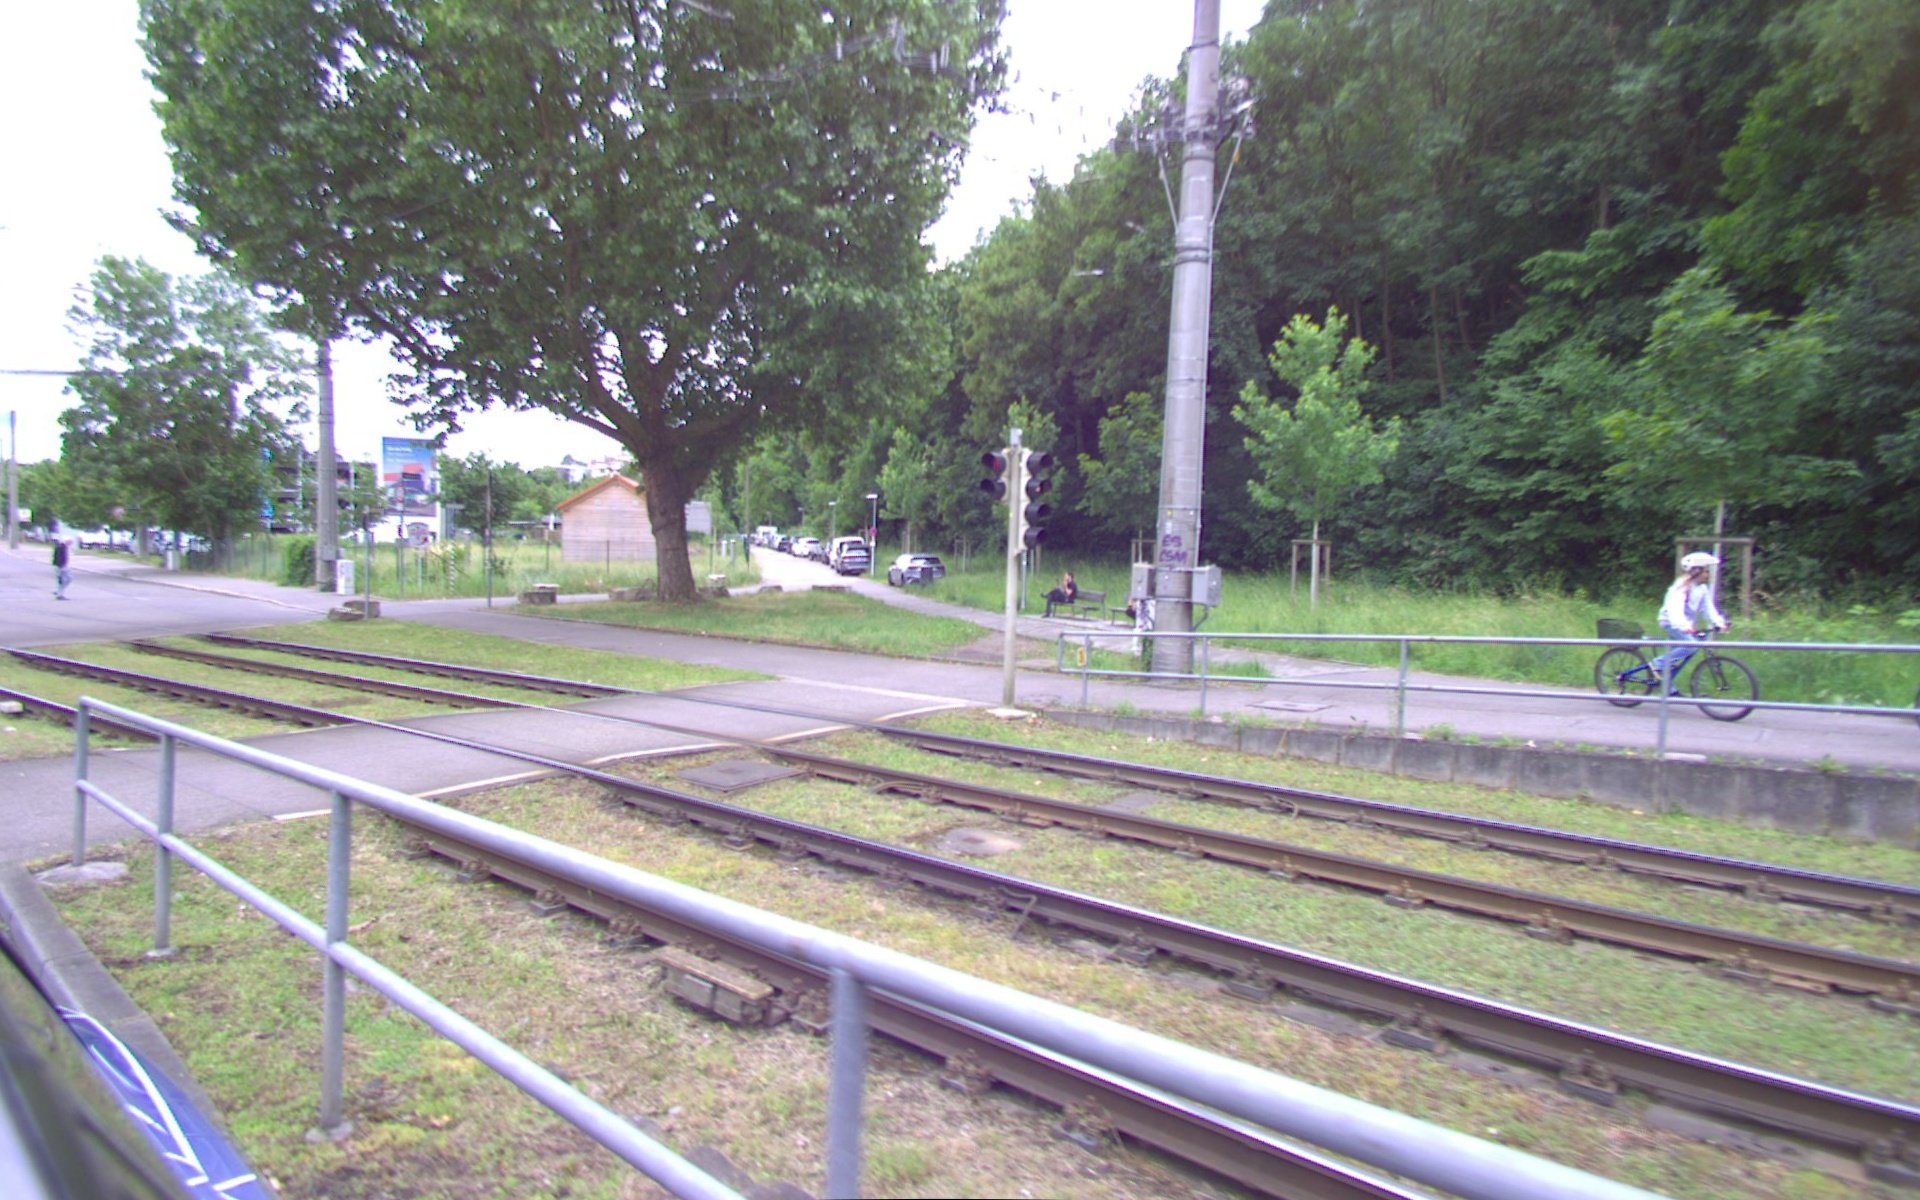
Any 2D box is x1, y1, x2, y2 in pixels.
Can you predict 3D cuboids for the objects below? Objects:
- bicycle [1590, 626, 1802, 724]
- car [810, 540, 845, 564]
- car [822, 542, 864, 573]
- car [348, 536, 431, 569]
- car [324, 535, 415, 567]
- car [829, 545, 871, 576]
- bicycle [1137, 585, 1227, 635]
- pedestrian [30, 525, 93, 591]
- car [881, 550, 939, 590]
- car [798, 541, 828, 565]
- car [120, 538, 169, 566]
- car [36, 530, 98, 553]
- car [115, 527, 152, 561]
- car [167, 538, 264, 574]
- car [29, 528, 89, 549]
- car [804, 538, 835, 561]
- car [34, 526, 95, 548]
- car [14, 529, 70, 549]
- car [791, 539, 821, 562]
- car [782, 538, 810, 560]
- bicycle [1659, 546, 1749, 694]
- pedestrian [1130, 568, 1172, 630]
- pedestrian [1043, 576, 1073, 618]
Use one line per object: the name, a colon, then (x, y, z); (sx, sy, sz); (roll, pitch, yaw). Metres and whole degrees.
bicycle: (7.020, 0.683, 9.743); (0.447, 0.744, 1.658); (-4, 3, -22)
car: (-8.504, -3.111, 64.946); (1.728, 1.387, 3.693); (-2, 5, -15)
car: (-6.802, -2.501, 58.562); (1.878, 1.624, 3.693); (-2, 5, -15)
car: (-46.300, -3.917, 82.254); (5.566, 2.478, 1.987); (-3, 5, -23)
car: (-45.870, -3.865, 78.757); (5.752, 2.283, 2.061); (-2, 5, -20)
car: (-5.839, -2.113, 53.504); (1.672, 1.434, 3.515); (-2, 5, -15)
bicycle: (4.522, 0.188, 20.586); (1.716, 0.891, 0.624); (-3, 5, -21)
pedestrian: (-25.234, -1.198, 28.419); (0.812, 1.772, 1.107); (3, 6, 38)
car: (-2.111, -1.281, 42.038); (1.672, 1.434, 3.515); (-2, 5, -15)
car: (-10.776, -3.480, 74.100); (1.728, 1.624, 3.693); (-2, 5, -15)
car: (-65.645, -3.898, 81.447); (4.773, 2.131, 2.114); (4, 6, 40)
car: (-94.919, -6.255, 107.644); (2.108, 2.224, 4.579); (4, 6, 40)
car: (-79.764, -5.462, 97.641); (2.287, 3.033, 6.167); (-5, 7, -42)
car: (-52.590, -3.159, 71.541); (2.001, 2.283, 5.196); (4, 7, 45)
car: (-98.855, -6.778, 111.110); (2.108, 2.224, 4.579); (4, 6, 40)
car: (-9.770, -3.527, 70.192); (1.728, 1.387, 3.693); (-2, 5, -15)
car: (-96.691, -6.838, 109.304); (2.108, 2.224, 4.579); (4, 6, 40)
car: (-109.320, -7.340, 120.584); (2.108, 2.224, 4.579); (4, 6, 40)
car: (-11.931, -3.834, 78.230); (1.727, 1.624, 3.694); (-2, 5, -17)
car: (-13.386, -4.200, 82.518); (1.727, 1.624, 3.694); (-2, 5, -17)
bicycle: (7.049, 0.173, 9.593); (0.447, 1.339, 0.518); (-4, 3, -22)
pedestrian: (4.082, -0.035, 21.664); (0.570, 1.244, 0.675); (-3, 5, -28)
pedestrian: (2.475, -0.085, 25.610); (0.523, 0.996, 0.622); (-3, 5, -26)
